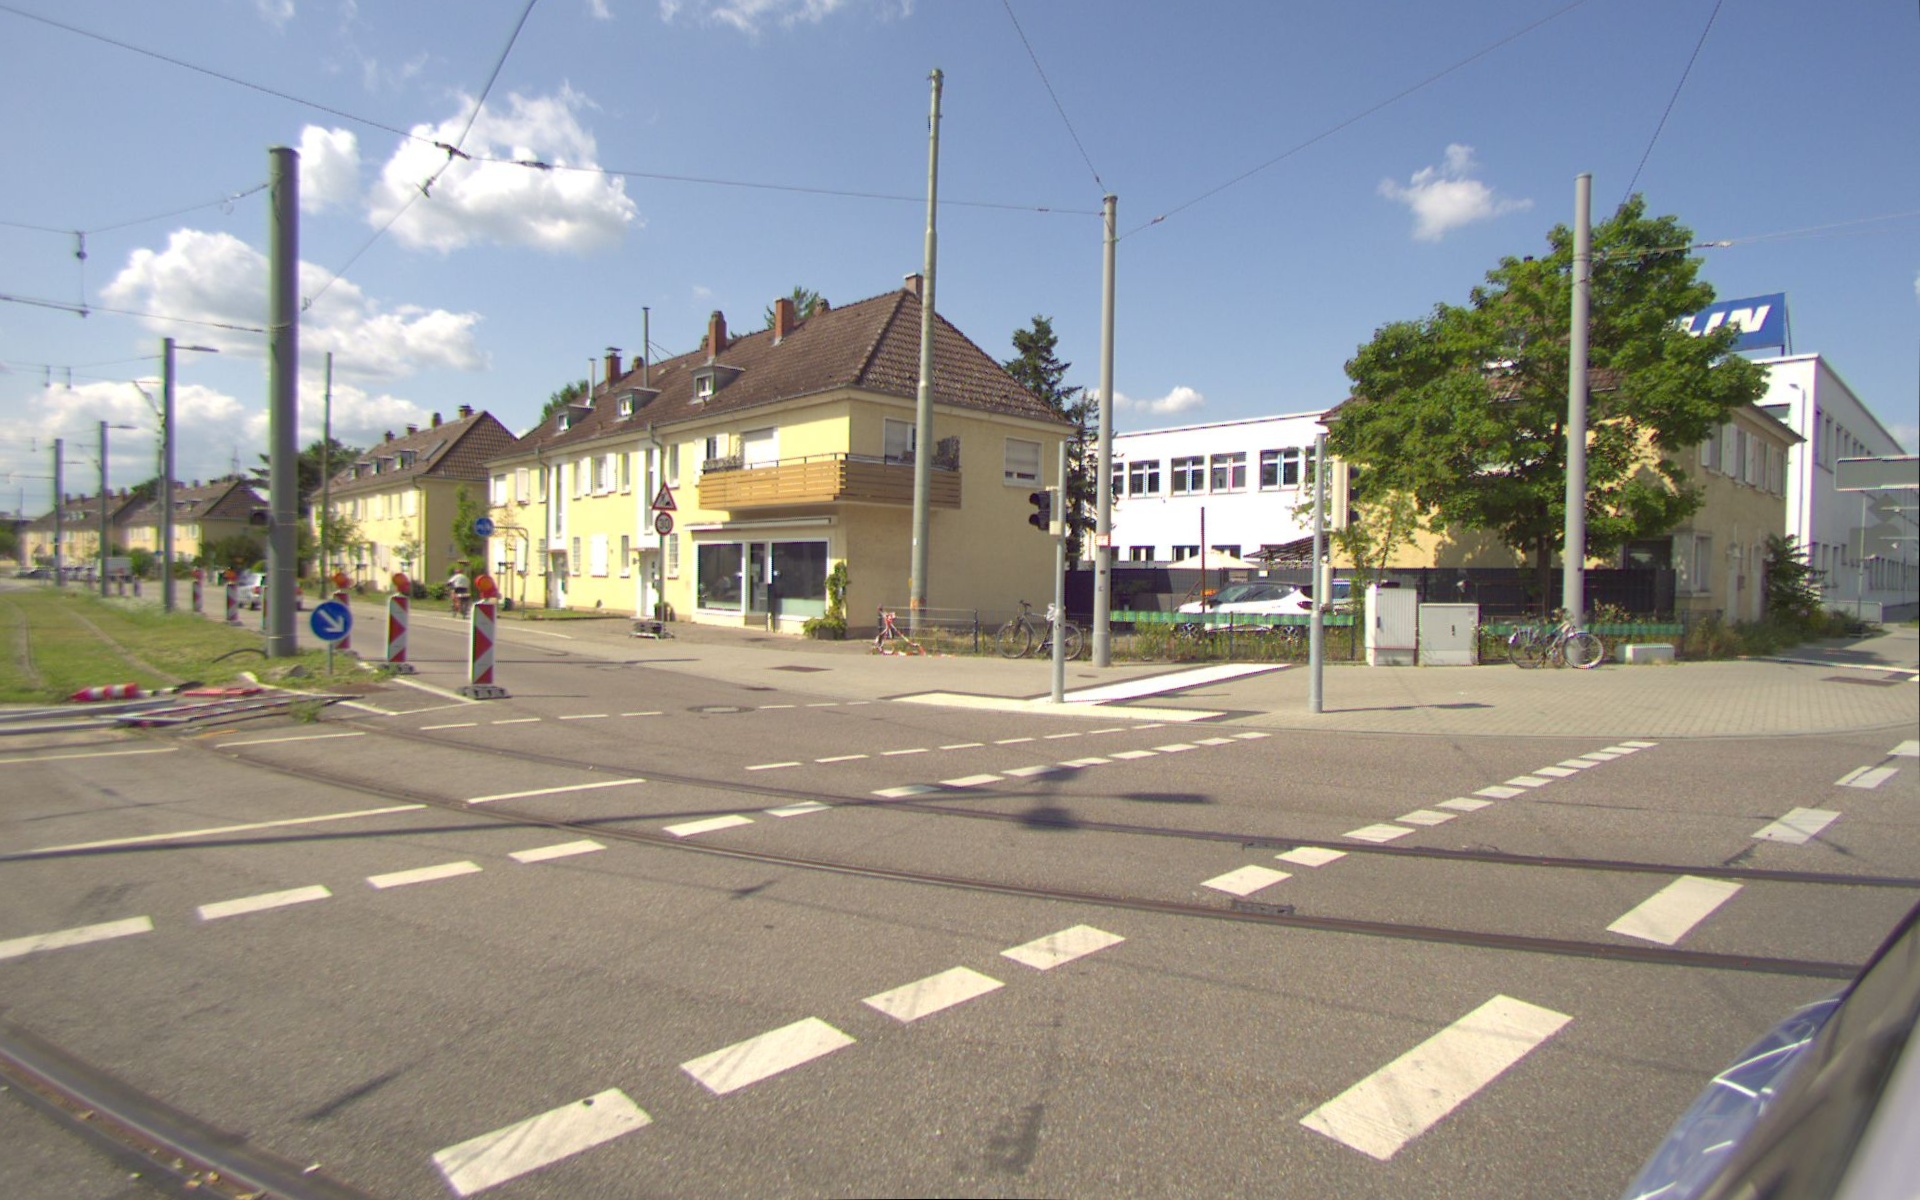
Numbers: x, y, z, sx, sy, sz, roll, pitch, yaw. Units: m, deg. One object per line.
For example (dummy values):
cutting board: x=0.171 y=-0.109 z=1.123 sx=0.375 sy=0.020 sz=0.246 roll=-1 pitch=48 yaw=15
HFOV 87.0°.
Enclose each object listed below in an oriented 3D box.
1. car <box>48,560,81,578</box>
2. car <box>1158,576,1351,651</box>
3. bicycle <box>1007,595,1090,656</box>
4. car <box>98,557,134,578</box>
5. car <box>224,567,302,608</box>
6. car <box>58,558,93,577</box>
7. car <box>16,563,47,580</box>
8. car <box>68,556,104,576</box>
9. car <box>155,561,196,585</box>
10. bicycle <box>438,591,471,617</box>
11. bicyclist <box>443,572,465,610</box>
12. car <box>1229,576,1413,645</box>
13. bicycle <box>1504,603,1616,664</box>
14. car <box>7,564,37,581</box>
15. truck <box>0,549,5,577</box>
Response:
car: x=-90.387 y=-3.149 z=102.181 sx=3.982 sy=1.746 sz=1.971 roll=0 pitch=1 yaw=41
car: x=6.979 y=0.260 z=24.250 sx=4.106 sy=1.617 sz=1.772 roll=1 pitch=1 yaw=44
bicycle: x=1.703 y=0.485 z=19.515 sx=1.555 sy=1.152 sz=0.378 roll=-1 pitch=0 yaw=22
car: x=-74.572 y=-2.859 z=89.380 sx=3.986 sy=1.746 sz=1.969 roll=0 pitch=1 yaw=43
car: x=-26.790 y=-0.497 z=38.850 sx=1.707 sy=1.421 sz=4.006 roll=4 pitch=-1 yaw=-45
car: x=-85.313 y=-3.155 z=97.587 sx=3.982 sy=1.746 sz=1.971 roll=0 pitch=1 yaw=41
car: x=-100.603 y=-3.107 z=109.648 sx=3.981 sy=1.746 sz=1.971 roll=0 pitch=1 yaw=40
car: x=-81.683 y=-3.165 z=94.606 sx=3.982 sy=1.746 sz=1.971 roll=0 pitch=1 yaw=41
car: x=-61.475 y=-2.090 z=79.279 sx=3.986 sy=1.746 sz=1.969 roll=0 pitch=1 yaw=43
bicycle: x=-16.632 y=0.125 z=33.289 sx=0.497 sy=0.790 sz=1.580 roll=-1 pitch=2 yaw=-45
bicyclist: x=-16.656 y=-0.305 z=33.308 sx=0.501 sy=1.249 sz=0.577 roll=-1 pitch=2 yaw=-45
car: x=9.229 y=0.206 z=26.067 sx=4.106 sy=1.617 sz=1.772 roll=1 pitch=1 yaw=44
bicycle: x=10.713 y=0.596 z=18.095 sx=1.722 sy=1.031 sz=0.463 roll=-1 pitch=0 yaw=0
car: x=-105.288 y=-3.096 z=113.579 sx=3.982 sy=1.746 sz=1.971 roll=0 pitch=1 yaw=41
truck: x=-116.319 y=-4.398 z=121.095 sx=5.300 sy=3.266 sz=1.975 roll=0 pitch=1 yaw=35
